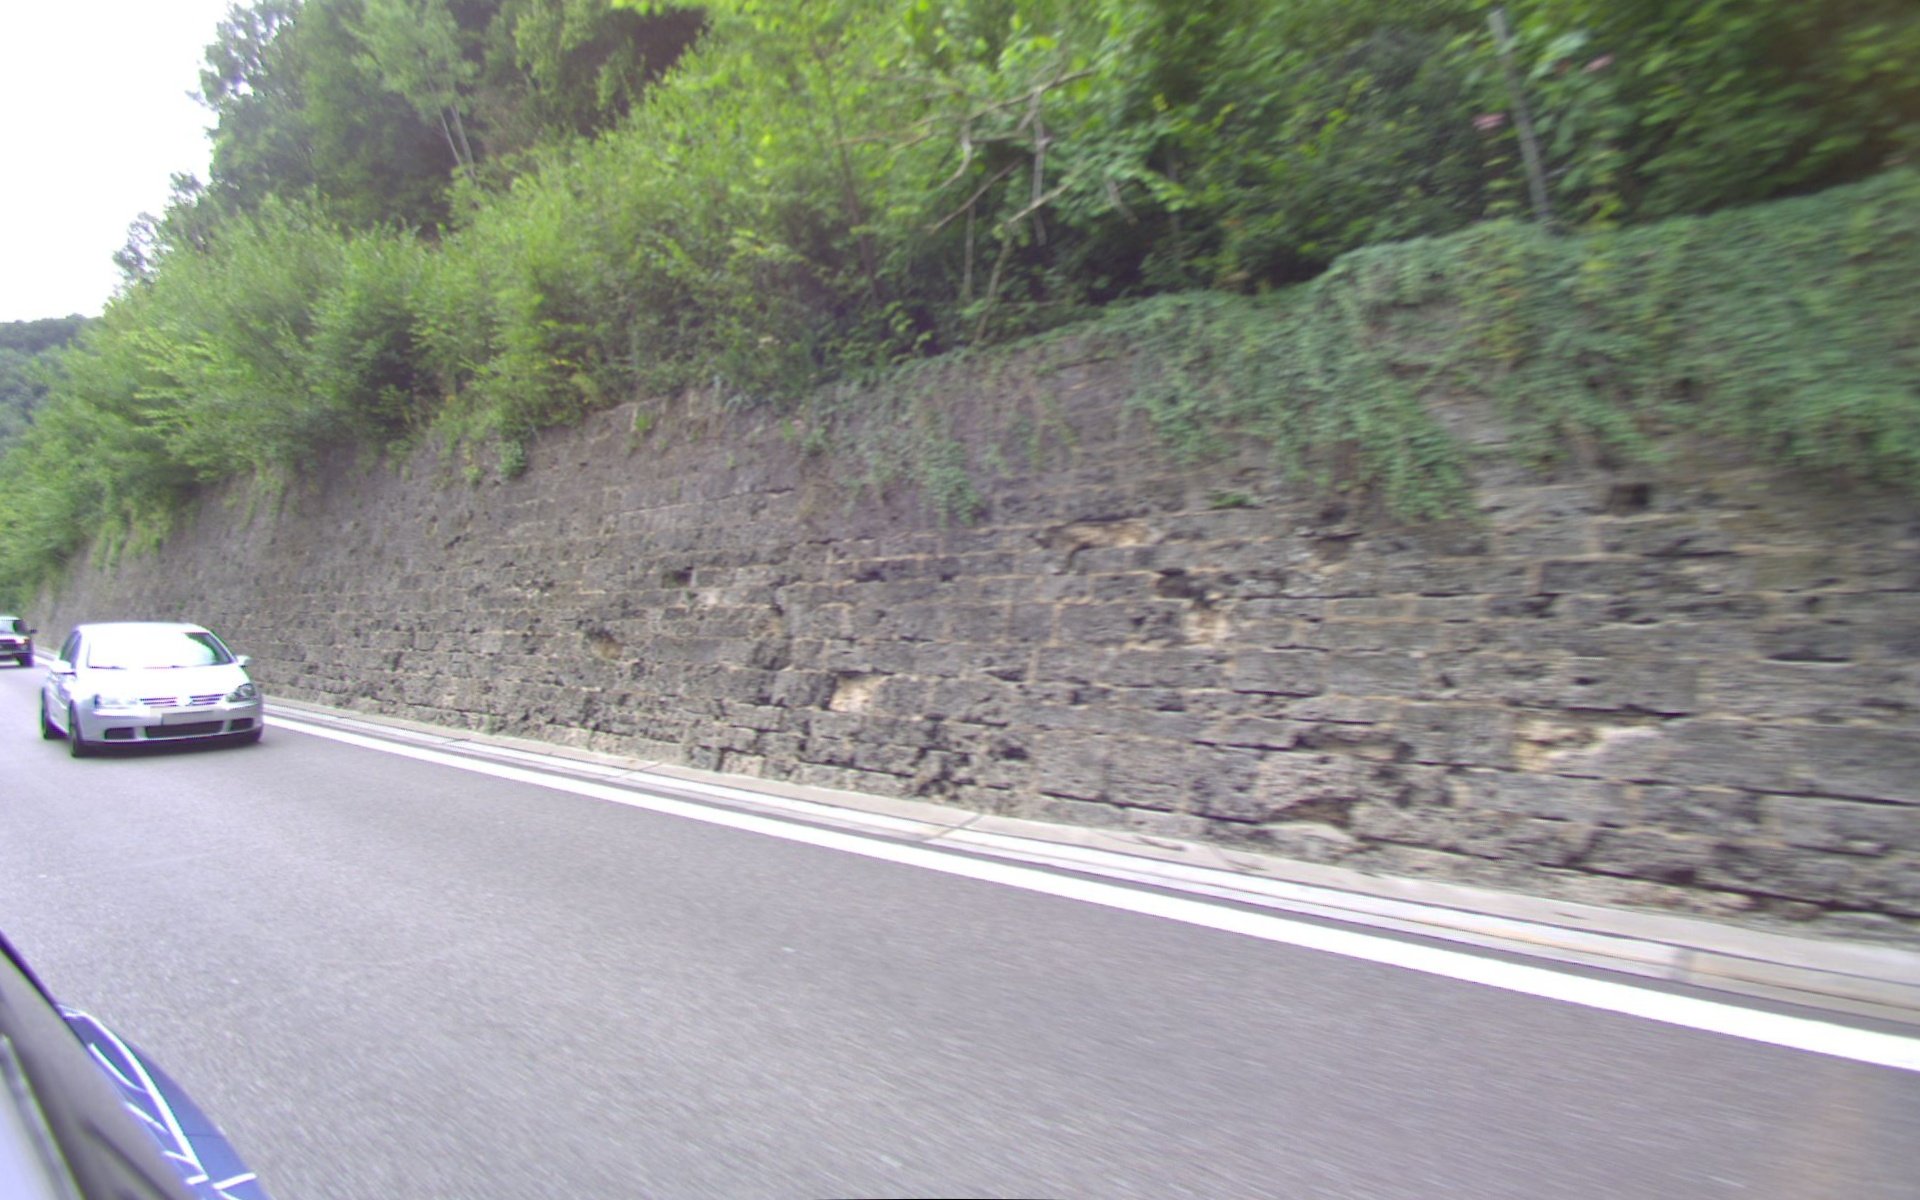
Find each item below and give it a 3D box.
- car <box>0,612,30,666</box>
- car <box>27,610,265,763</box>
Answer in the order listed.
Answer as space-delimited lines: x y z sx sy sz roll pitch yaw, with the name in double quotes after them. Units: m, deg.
-31.398 1.252 32.635 4.584 1.668 1.788 -1 0 44 "car"
-10.212 0.933 12.552 4.583 1.526 1.663 -1 0 43 "car"
